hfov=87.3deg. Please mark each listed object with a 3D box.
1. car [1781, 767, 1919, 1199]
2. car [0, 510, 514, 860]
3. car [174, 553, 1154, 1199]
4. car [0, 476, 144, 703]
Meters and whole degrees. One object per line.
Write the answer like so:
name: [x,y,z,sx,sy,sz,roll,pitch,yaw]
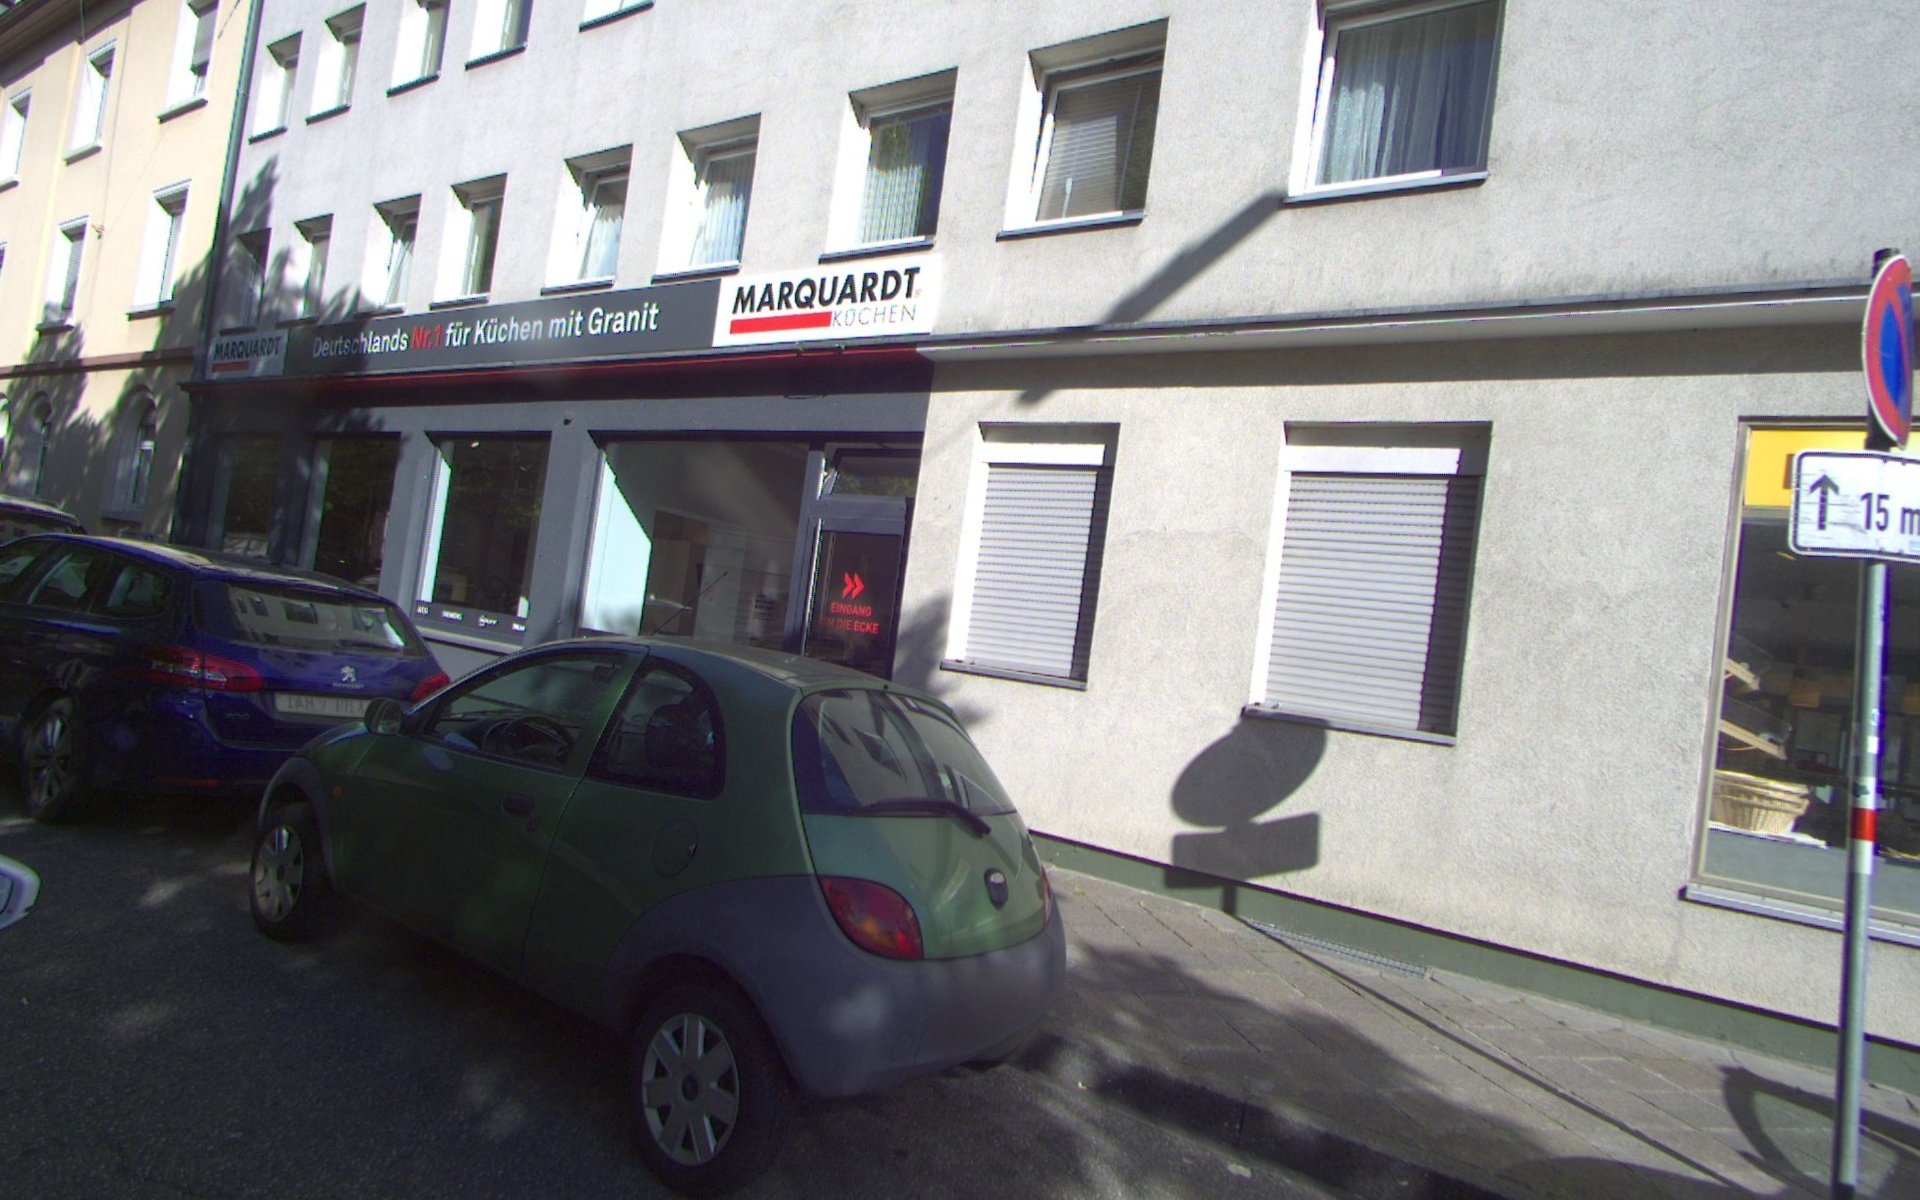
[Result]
car: [3.442,1.276,0.896,3.958,1.514,1.722,6,-3,33]
car: [-5.145,0.323,6.348,4.363,1.479,1.808,6,-3,28]
car: [-1.311,0.790,3.965,3.613,1.479,1.600,6,-3,33]
car: [-9.556,-0.301,9.119,4.434,1.772,1.767,6,-3,31]
